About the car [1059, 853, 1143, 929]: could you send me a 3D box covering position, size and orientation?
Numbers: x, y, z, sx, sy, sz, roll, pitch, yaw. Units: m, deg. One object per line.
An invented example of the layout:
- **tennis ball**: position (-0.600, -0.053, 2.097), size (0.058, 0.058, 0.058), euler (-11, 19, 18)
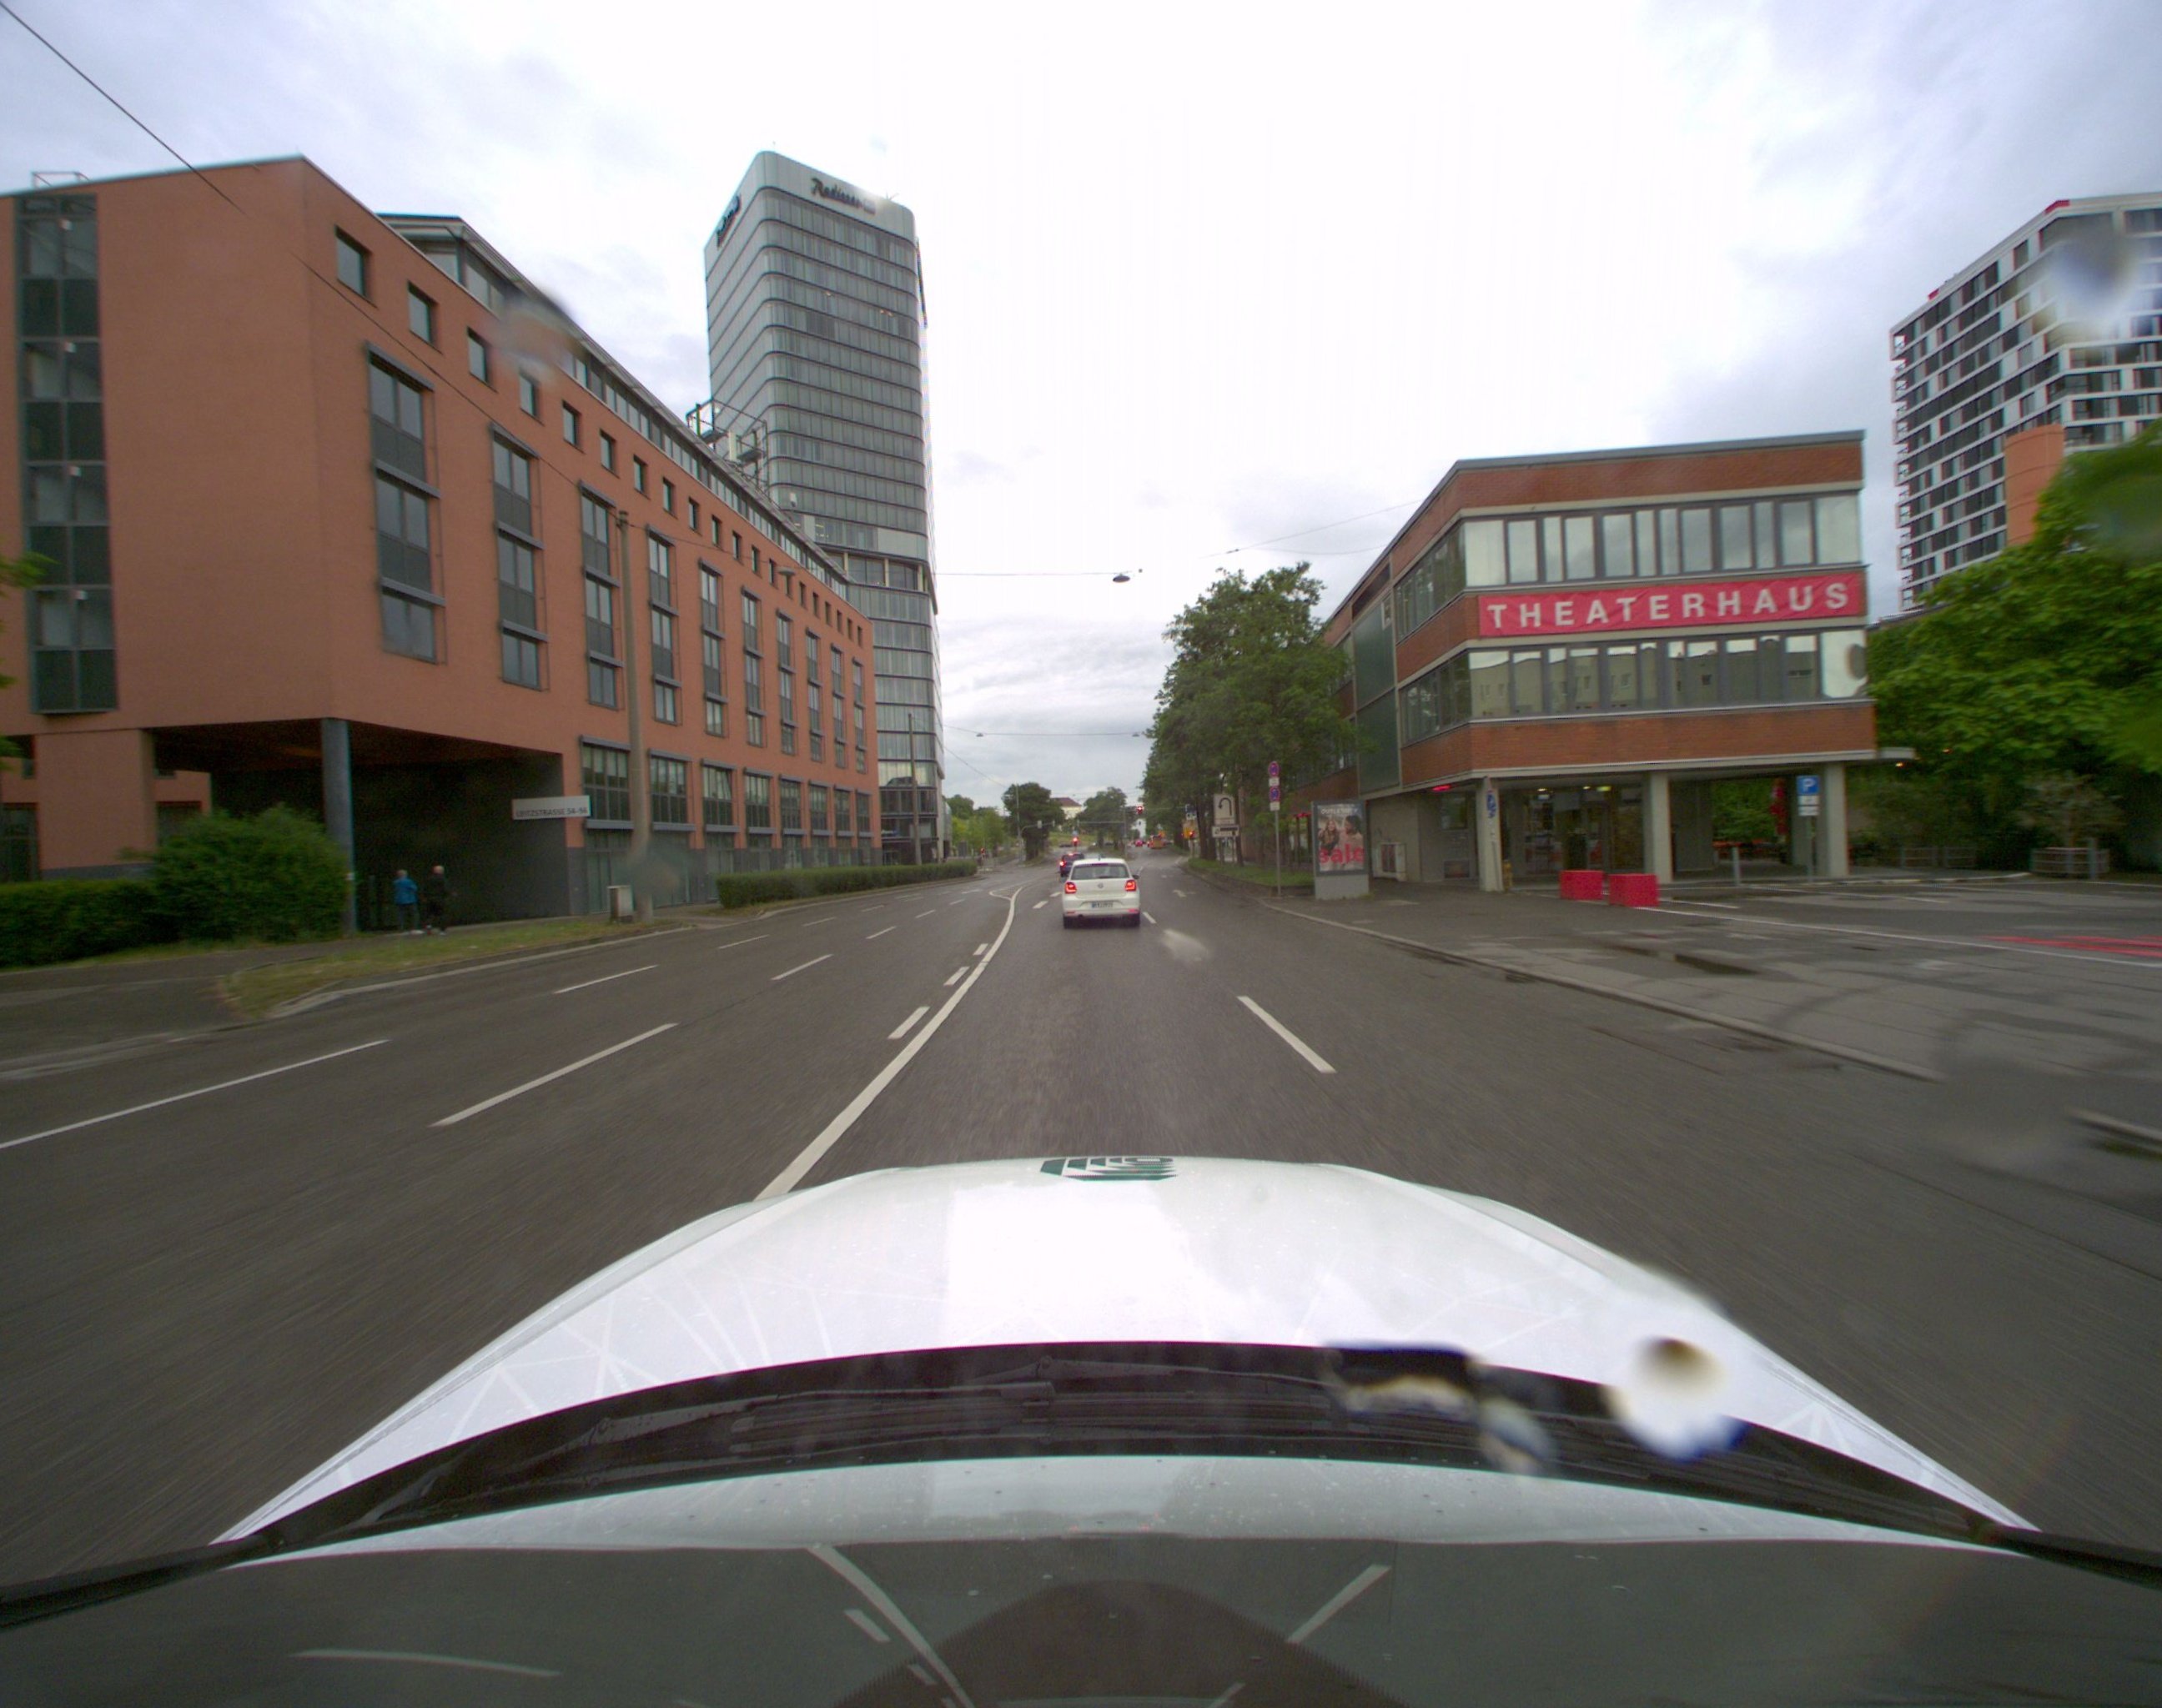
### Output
- **car**: position (0.397, 0.751, 18.532), size (1.666, 1.474, 3.778), euler (-2, 0, -1)

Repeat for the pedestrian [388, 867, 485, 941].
- **pedestrian**: position (-17.170, 1.308, 21.747), size (1.309, 1.823, 1.440), euler (-5, -2, 4)

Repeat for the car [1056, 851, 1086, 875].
- **car**: position (-0.690, 0.653, 58.507), size (1.987, 1.574, 3.999), euler (-3, 0, -1)

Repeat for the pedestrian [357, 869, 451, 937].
- **pedestrian**: position (-18.264, 1.307, 22.014), size (1.201, 1.679, 1.421), euler (-5, -2, 4)
